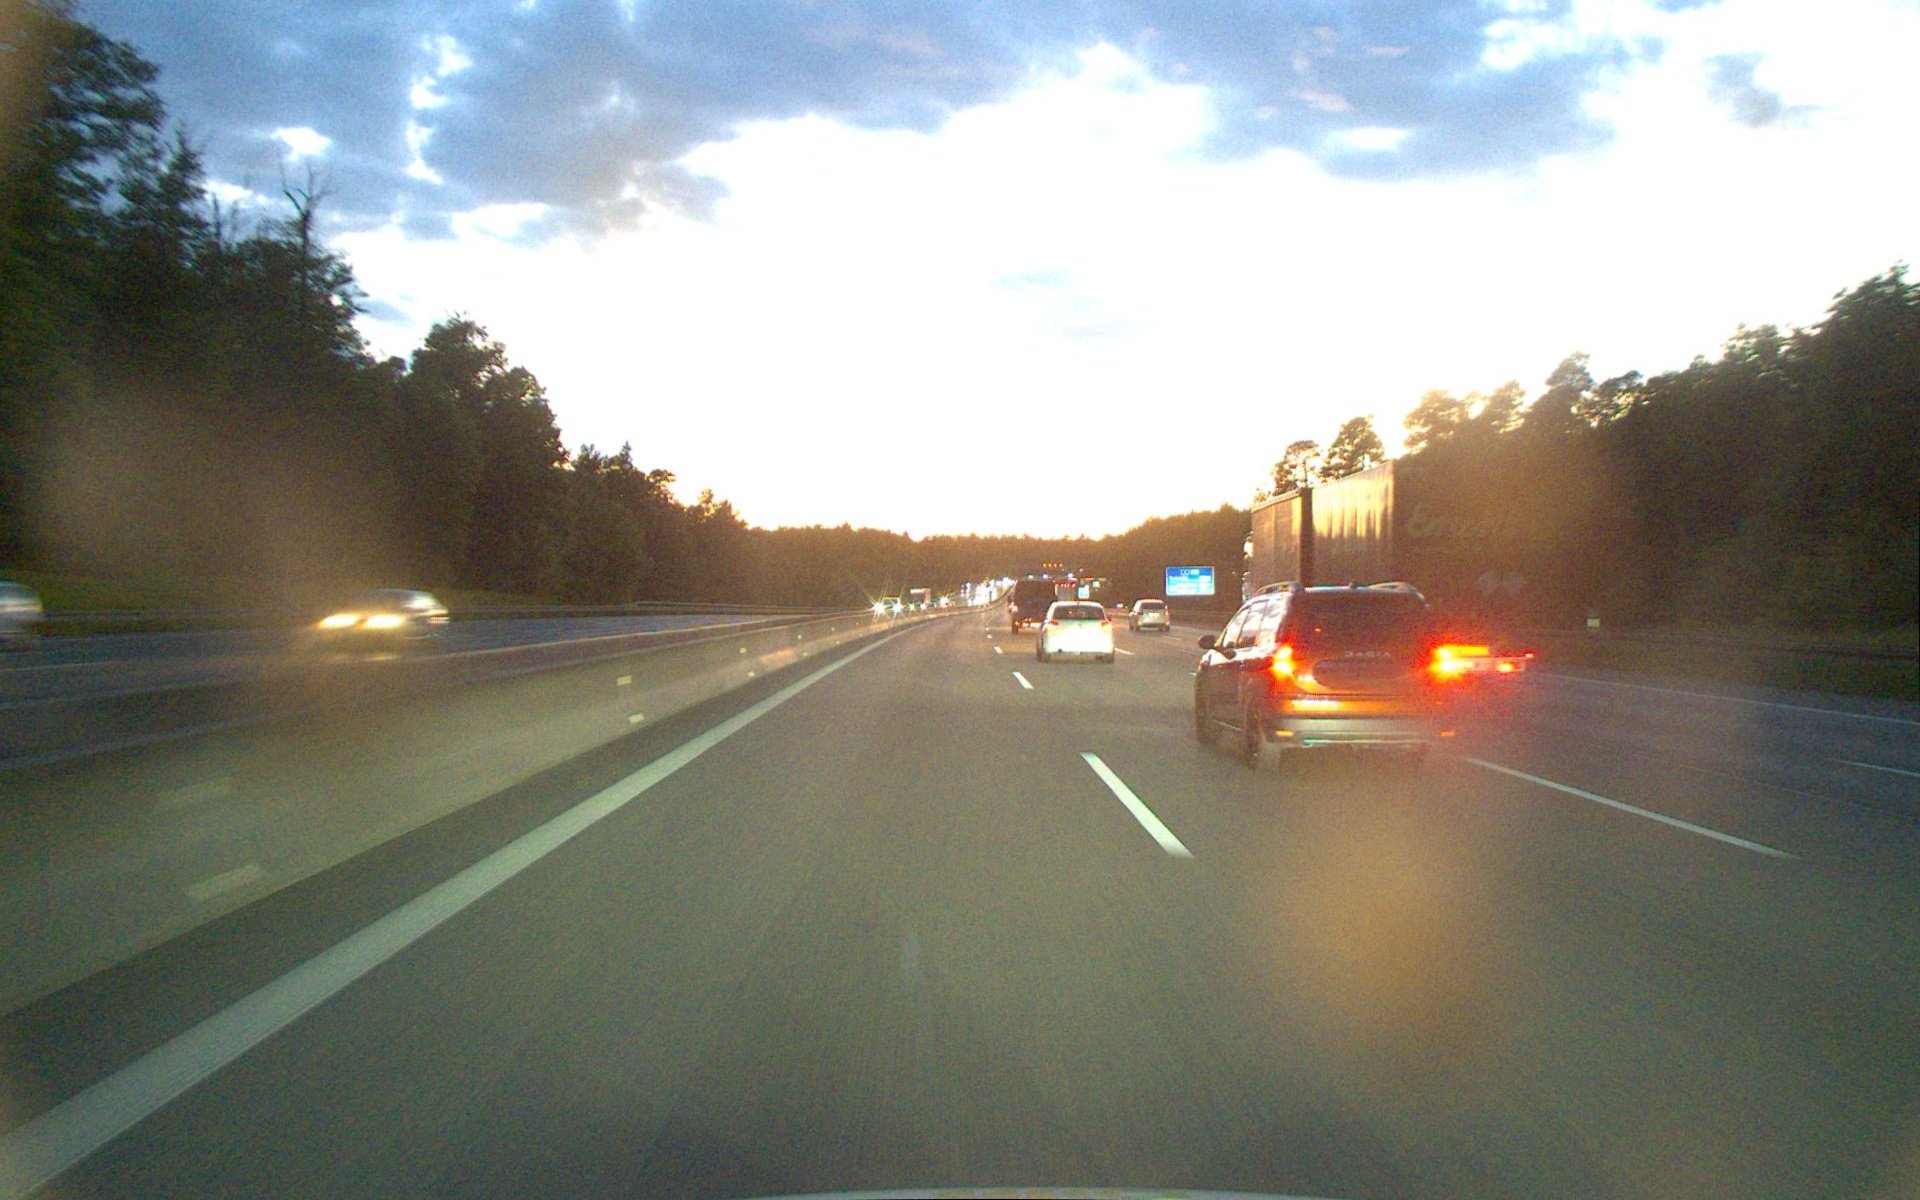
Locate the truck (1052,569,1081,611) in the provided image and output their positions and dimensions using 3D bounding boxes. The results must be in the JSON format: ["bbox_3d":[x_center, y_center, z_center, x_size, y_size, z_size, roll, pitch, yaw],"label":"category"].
[{"bbox_3d":[15.689,-1.426,244.720,4.062,5.959,14.301,0,0,3],"label":"truck"}]

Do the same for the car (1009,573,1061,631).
[{"bbox_3d":[3.388,0.093,73.558,2.120,2.461,5.567,0,0,4],"label":"car"}]

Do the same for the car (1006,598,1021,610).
[{"bbox_3d":[7.299,0.554,225.804,1.798,1.598,4.002,0,0,4],"label":"car"}]

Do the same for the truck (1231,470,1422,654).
[{"bbox_3d":[9.206,-0.852,42.983,2.825,4.172,10.833,0,0,1],"label":"truck"}]

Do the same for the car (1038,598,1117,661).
[{"bbox_3d":[2.813,0.705,40.140,1.820,1.467,3.721,0,-1,3],"label":"car"}]

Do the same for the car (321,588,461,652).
[{"bbox_3d":[-14.504,0.460,42.422,1.804,1.489,4.777,1,1,1],"label":"car"}]

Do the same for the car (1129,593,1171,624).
[{"bbox_3d":[9.678,0.438,84.414,1.965,1.565,4.002,0,0,4],"label":"car"}]

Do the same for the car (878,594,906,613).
[{"bbox_3d":[-5.976,0.305,145.386,1.952,1.667,5.113,1,0,3],"label":"car"}]

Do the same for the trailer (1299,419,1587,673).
[{"bbox_3d":[8.995,-0.874,32.364,2.847,4.172,10.359,0,0,1],"label":"trailer"}]

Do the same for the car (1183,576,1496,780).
[{"bbox_3d":[3.478,0.616,16.182,1.864,1.672,5.052,0,1,-1],"label":"car"}]

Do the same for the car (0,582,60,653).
[{"bbox_3d":[-21.530,0.378,35.746,1.804,1.489,4.002,1,1,2],"label":"car"}]
